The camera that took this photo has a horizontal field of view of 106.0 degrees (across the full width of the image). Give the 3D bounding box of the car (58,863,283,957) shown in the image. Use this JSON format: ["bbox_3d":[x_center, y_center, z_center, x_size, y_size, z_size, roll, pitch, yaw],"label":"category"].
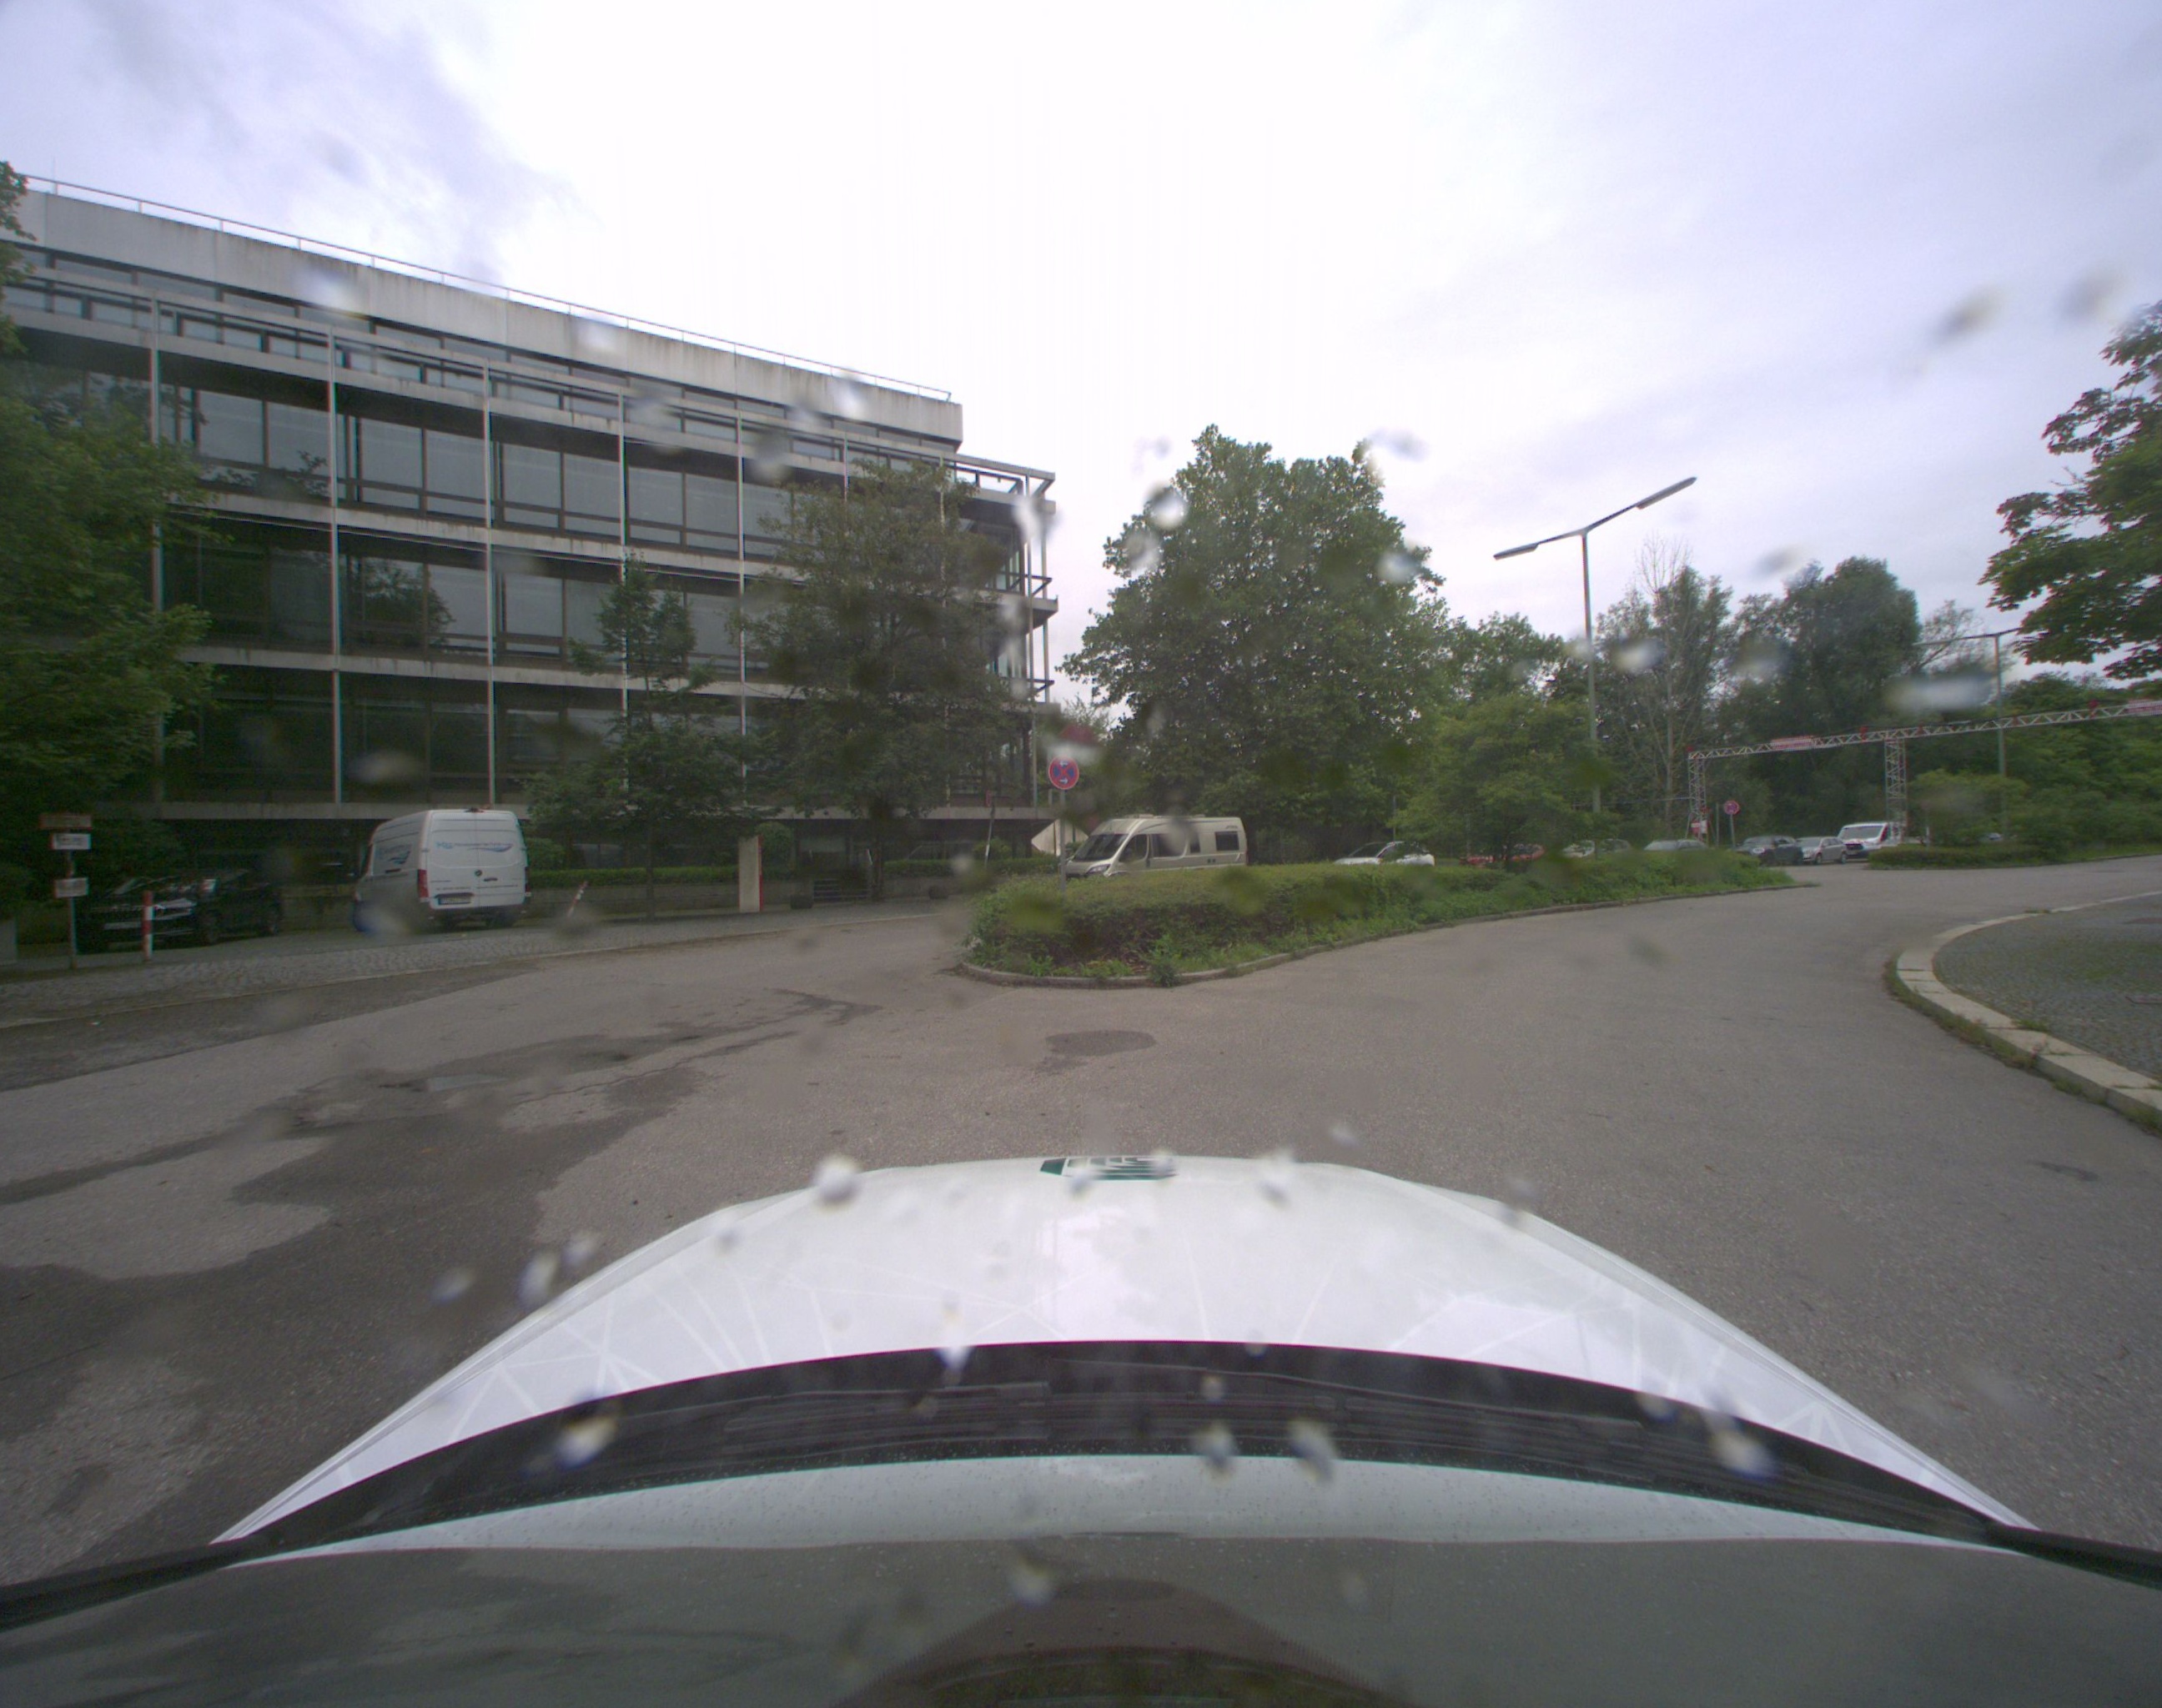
[{"bbox_3d":[-19.421,1.100,17.656,1.953,1.721,4.199,-1,0,-29],"label":"car"}]

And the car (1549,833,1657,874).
[{"bbox_3d":[22.045,-0.022,34.391,4.006,1.574,1.984,-2,0,-25],"label":"car"}]

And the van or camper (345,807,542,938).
[{"bbox_3d":[-14.970,0.529,18.947,6.454,2.581,2.176,-4,-2,39],"label":"van or camper"}]

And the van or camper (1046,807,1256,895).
[{"bbox_3d":[2.224,-0.112,24.060,6.451,2.281,2.229,-1,-1,-40],"label":"van or camper"}]

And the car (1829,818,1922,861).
[{"bbox_3d":[43.755,-0.790,44.831,4.881,2.227,2.186,-2,0,-27],"label":"car"}]

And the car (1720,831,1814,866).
[{"bbox_3d":[33.775,-0.261,40.111,4.006,1.574,1.984,-2,0,-25],"label":"car"}]

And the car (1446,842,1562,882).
[{"bbox_3d":[16.567,0.291,31.895,4.006,1.409,1.984,-2,0,-25],"label":"car"}]

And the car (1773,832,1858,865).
[{"bbox_3d":[38.273,-0.290,42.416,4.009,1.574,1.982,-2,0,-27],"label":"car"}]

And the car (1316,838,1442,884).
[{"bbox_3d":[10.727,0.235,29.312,4.006,1.508,1.984,-2,0,-25],"label":"car"}]
